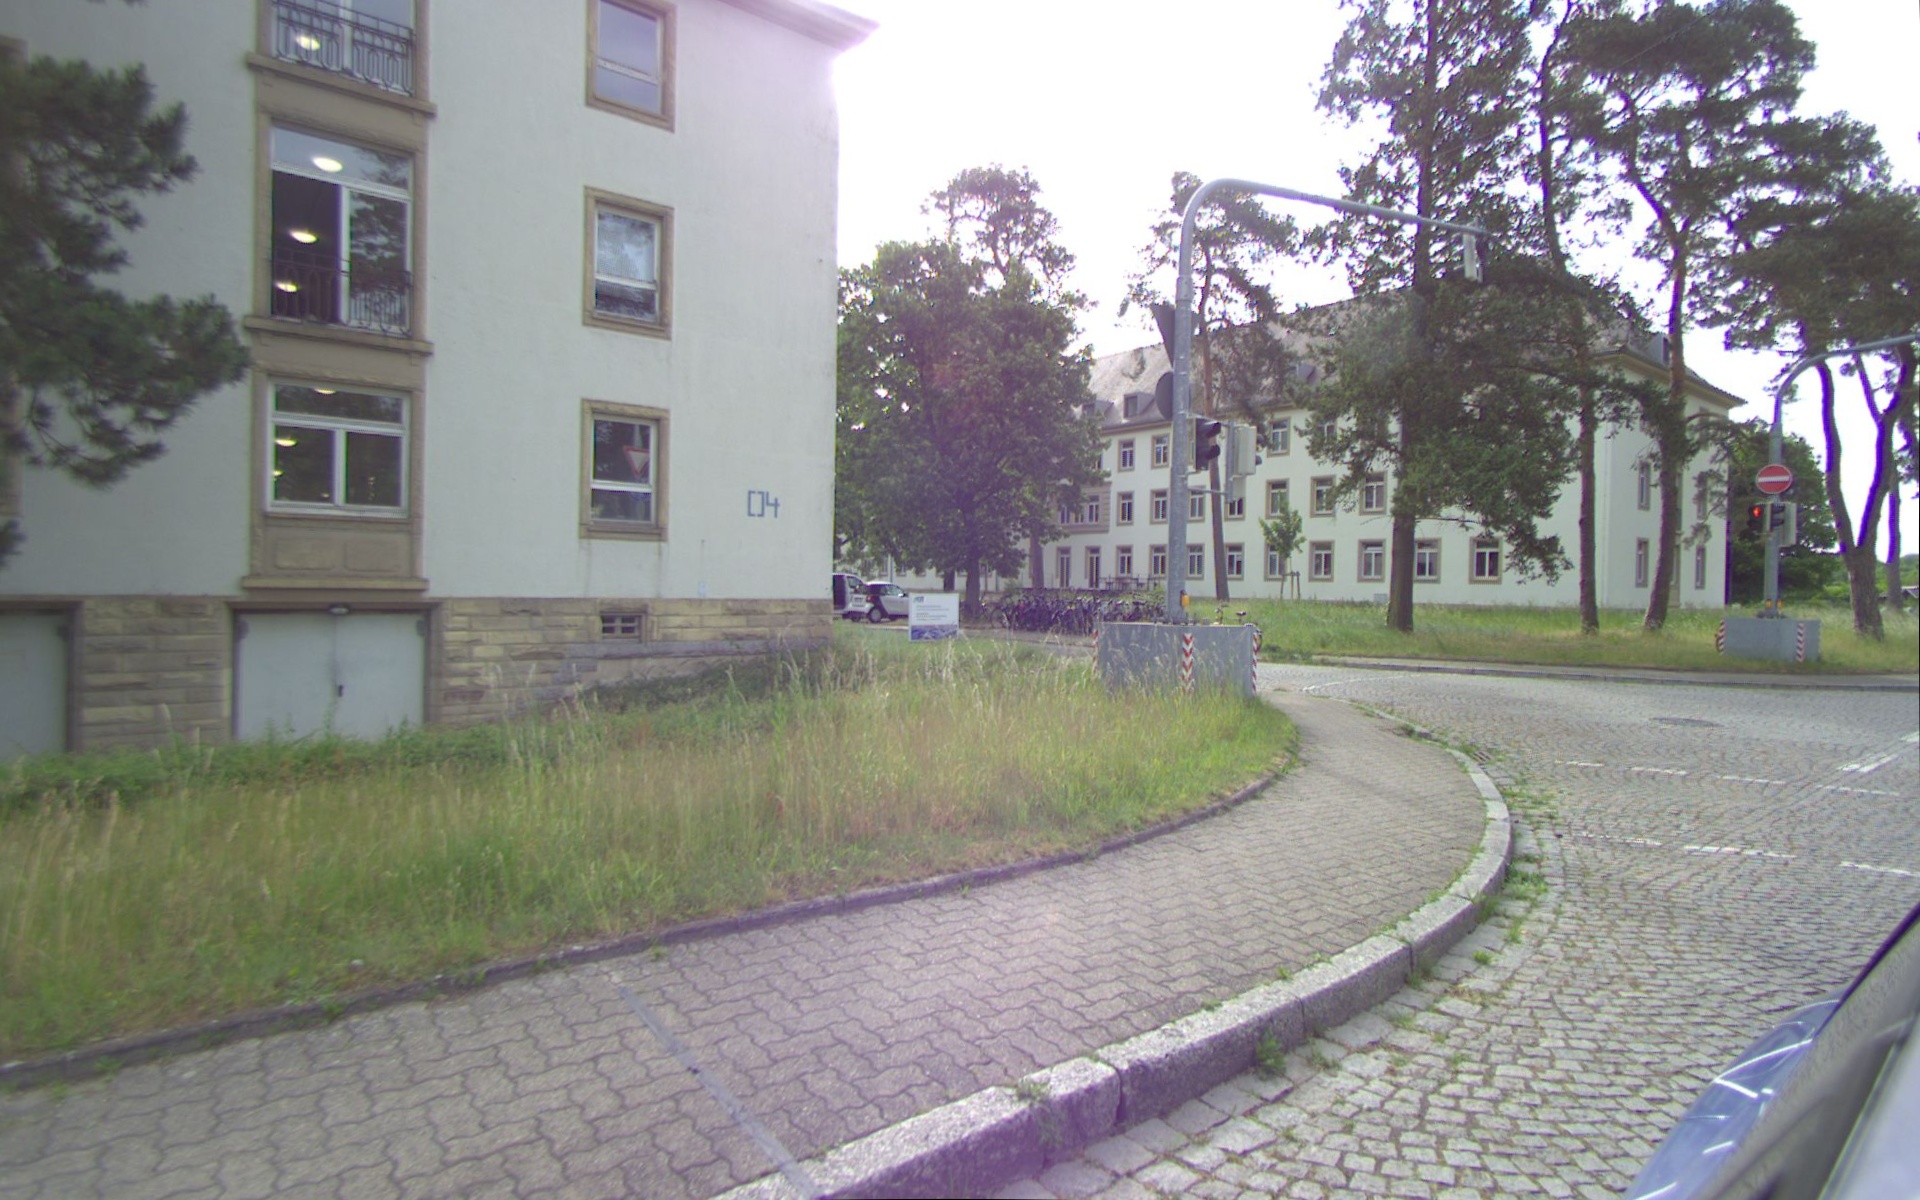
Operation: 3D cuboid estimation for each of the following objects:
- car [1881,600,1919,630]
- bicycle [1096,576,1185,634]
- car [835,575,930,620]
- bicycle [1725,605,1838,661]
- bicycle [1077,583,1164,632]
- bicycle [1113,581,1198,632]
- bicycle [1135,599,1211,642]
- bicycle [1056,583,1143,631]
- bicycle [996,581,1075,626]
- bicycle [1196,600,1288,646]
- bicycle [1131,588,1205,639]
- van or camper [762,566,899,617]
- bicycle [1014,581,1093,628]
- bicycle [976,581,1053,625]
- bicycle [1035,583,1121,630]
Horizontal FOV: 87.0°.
[{"bbox_3d":[53.399,0.828,56.854,3.625,1.552,1.773,0,1,-37],"label":"car"},{"bbox_3d":[5.277,0.140,29.440,2.760,1.603,0.950,1,1,-39],"label":"bicycle"},{"bbox_3d":[-3.042,-0.091,39.878,3.176,1.641,1.936,2,0,-39],"label":"car"},{"bbox_3d":[17.921,0.691,22.109,0.635,1.075,1.831,-4,4,-40],"label":"bicycle"},{"bbox_3d":[4.808,0.222,30.256,2.760,1.389,0.950,1,1,-39],"label":"bicycle"},{"bbox_3d":[5.538,0.176,28.541,2.580,1.384,0.874,1,1,-39],"label":"bicycle"},{"bbox_3d":[5.465,0.503,26.083,0.715,1.009,1.980,1,1,-33],"label":"bicycle"},{"bbox_3d":[4.229,0.203,30.481,2.760,1.389,0.950,1,1,-39],"label":"bicycle"},{"bbox_3d":[2.439,0.119,32.501,2.530,1.389,0.950,1,1,-39],"label":"bicycle"},{"bbox_3d":[6.798,0.543,24.472,0.887,1.009,1.977,1,1,-38],"label":"bicycle"},{"bbox_3d":[5.759,0.361,27.942,2.081,1.323,0.874,1,1,-39],"label":"bicycle"},{"bbox_3d":[-5.314,-0.343,42.262,2.227,1.982,5.678,2,1,40],"label":"van or camper"},{"bbox_3d":[2.962,0.135,31.844,2.530,1.389,0.950,1,1,-39],"label":"bicycle"},{"bbox_3d":[1.801,0.098,33.065,2.530,1.389,0.950,1,1,-39],"label":"bicycle"},{"bbox_3d":[3.662,0.186,31.171,2.760,1.389,0.950,1,1,-39],"label":"bicycle"}]
